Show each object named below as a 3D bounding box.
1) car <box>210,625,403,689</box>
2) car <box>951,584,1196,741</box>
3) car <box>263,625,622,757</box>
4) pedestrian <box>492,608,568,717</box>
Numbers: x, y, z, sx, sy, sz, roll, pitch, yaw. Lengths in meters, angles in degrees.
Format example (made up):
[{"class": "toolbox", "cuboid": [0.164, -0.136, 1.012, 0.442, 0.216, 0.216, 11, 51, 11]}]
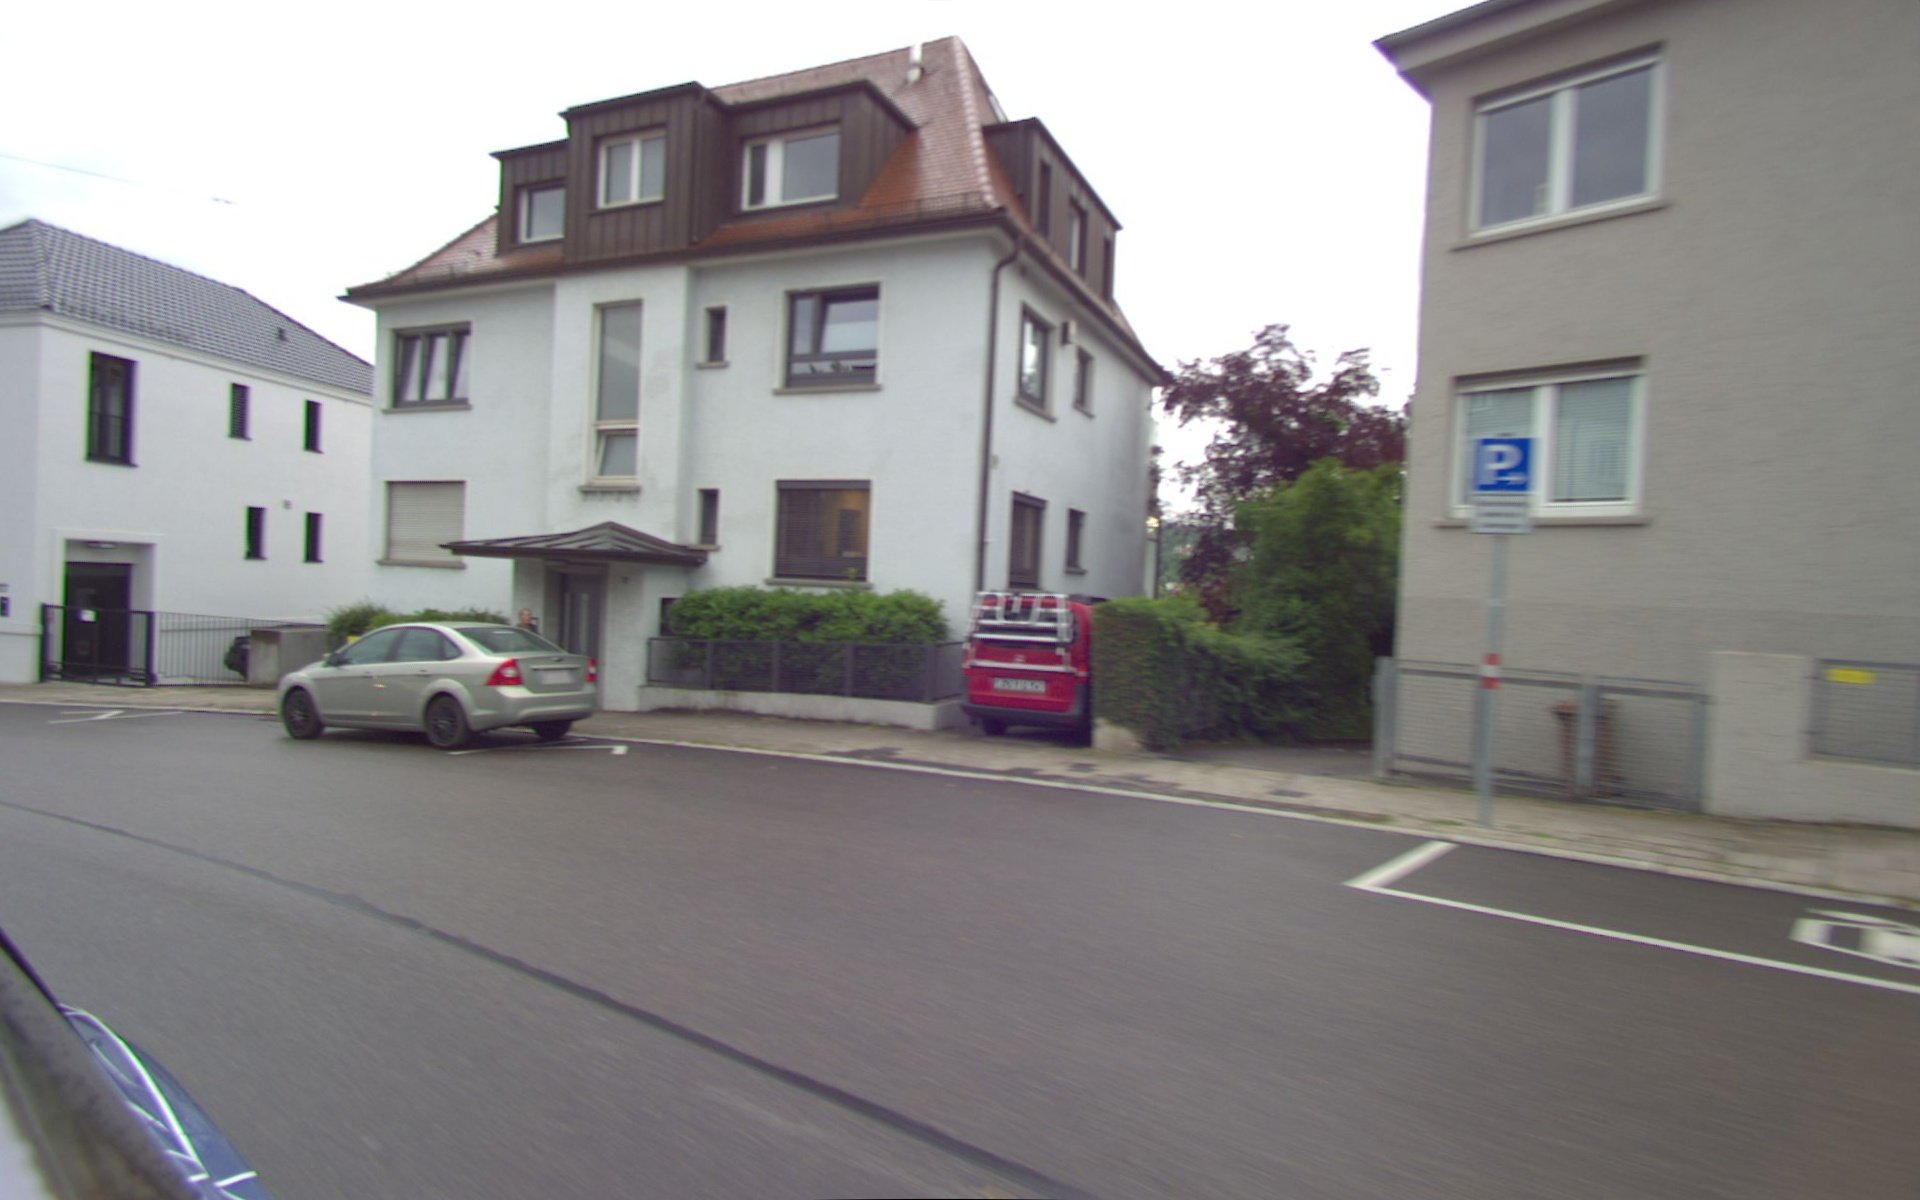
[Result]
[{"class": "car", "cuboid": [-16.292, 1.485, 25.502, 1.724, 1.363, 3.985, 2, -5, 11]}, {"class": "car", "cuboid": [1.733, 0.893, 14.040, 1.992, 1.837, 3.960, -1, -5, 29]}, {"class": "car", "cuboid": [-6.539, 1.043, 12.789, 4.203, 1.436, 1.827, -1, -2, 24]}, {"class": "pedestrian", "cuboid": [-6.581, 0.931, 15.504, 0.494, 1.589, 0.934, -1, 0, 45]}]
